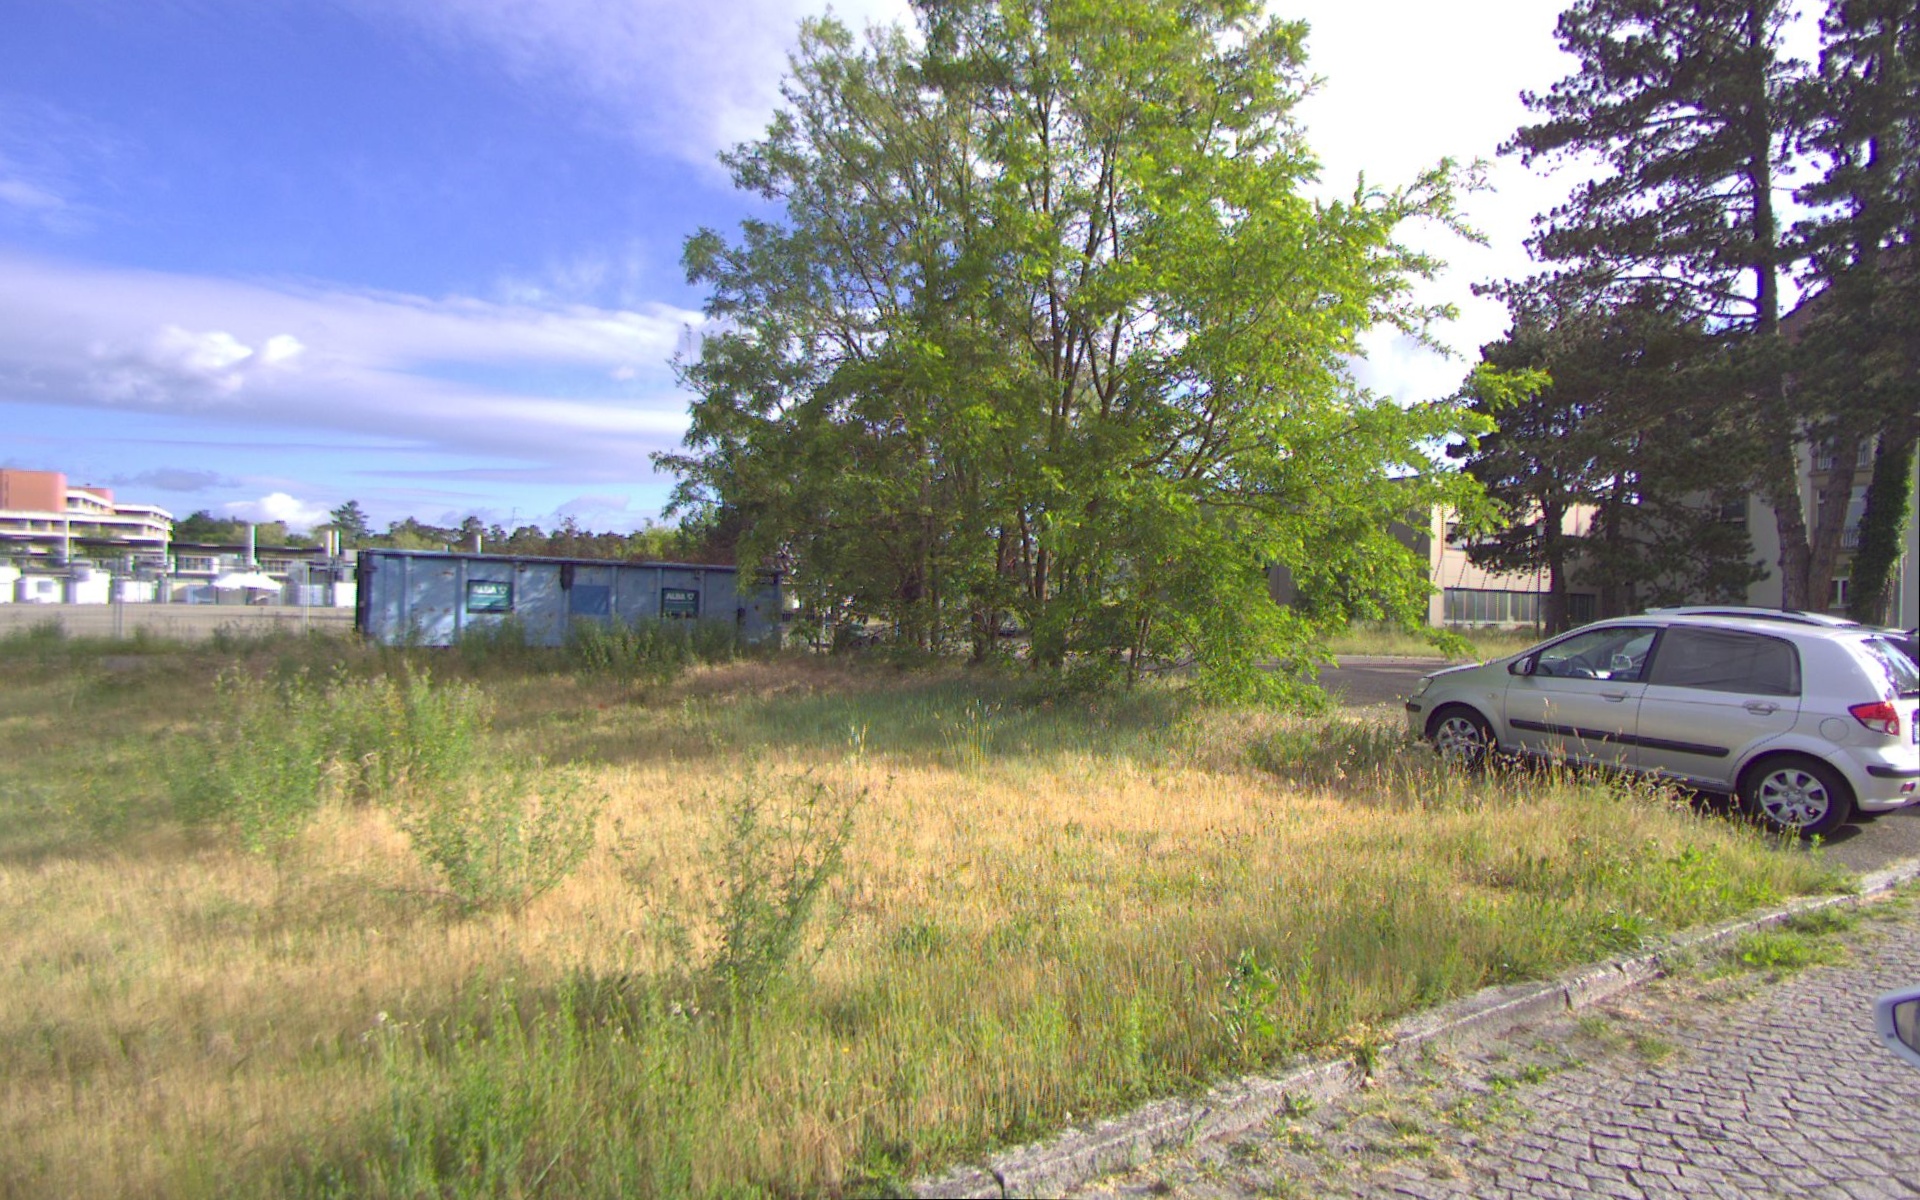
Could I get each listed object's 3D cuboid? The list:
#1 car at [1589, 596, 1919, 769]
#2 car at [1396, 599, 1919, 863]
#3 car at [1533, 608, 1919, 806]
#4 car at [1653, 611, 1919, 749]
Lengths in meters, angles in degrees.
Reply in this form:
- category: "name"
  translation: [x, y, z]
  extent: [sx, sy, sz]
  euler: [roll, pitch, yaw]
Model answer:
- category: "car"
  translation: [10.088, 0.902, 11.821]
  extent: [1.841, 1.621, 4.092]
  euler: [2, 2, -36]
- category: "car"
  translation: [5.920, 0.867, 8.486]
  extent: [1.830, 1.493, 3.661]
  euler: [2, 2, -33]
- category: "car"
  translation: [8.117, 0.947, 9.925]
  extent: [1.838, 1.449, 3.807]
  euler: [2, 2, -32]
- category: "car"
  translation: [12.162, 1.037, 13.247]
  extent: [1.883, 1.475, 4.558]
  euler: [0, 3, -33]
